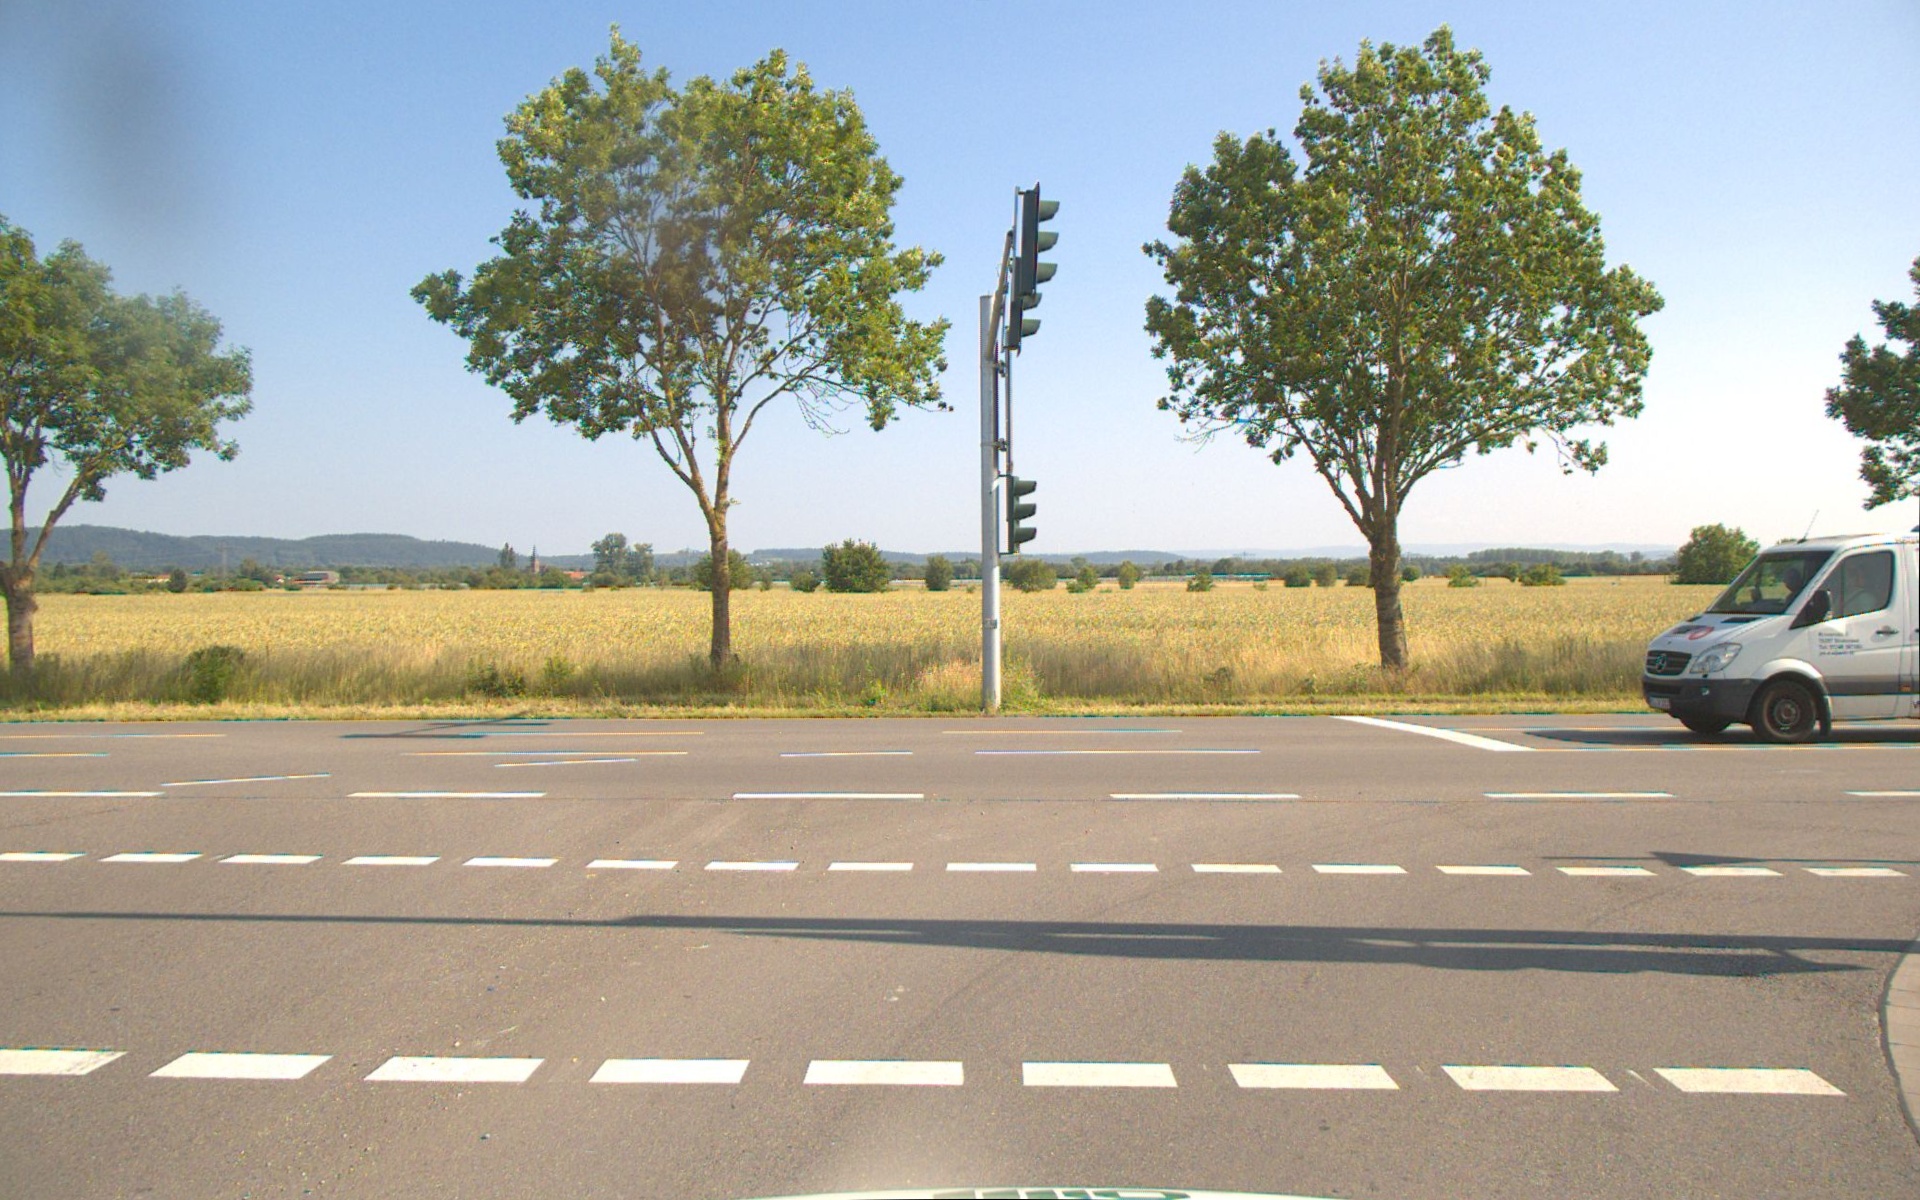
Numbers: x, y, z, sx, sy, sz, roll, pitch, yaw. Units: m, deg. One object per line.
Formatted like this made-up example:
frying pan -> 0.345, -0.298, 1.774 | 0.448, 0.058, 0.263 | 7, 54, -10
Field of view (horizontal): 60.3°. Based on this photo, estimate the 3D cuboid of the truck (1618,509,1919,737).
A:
truck -> 10.974, 0.240, 18.968 | 6.053, 2.447, 2.070 | 0, -1, -2
